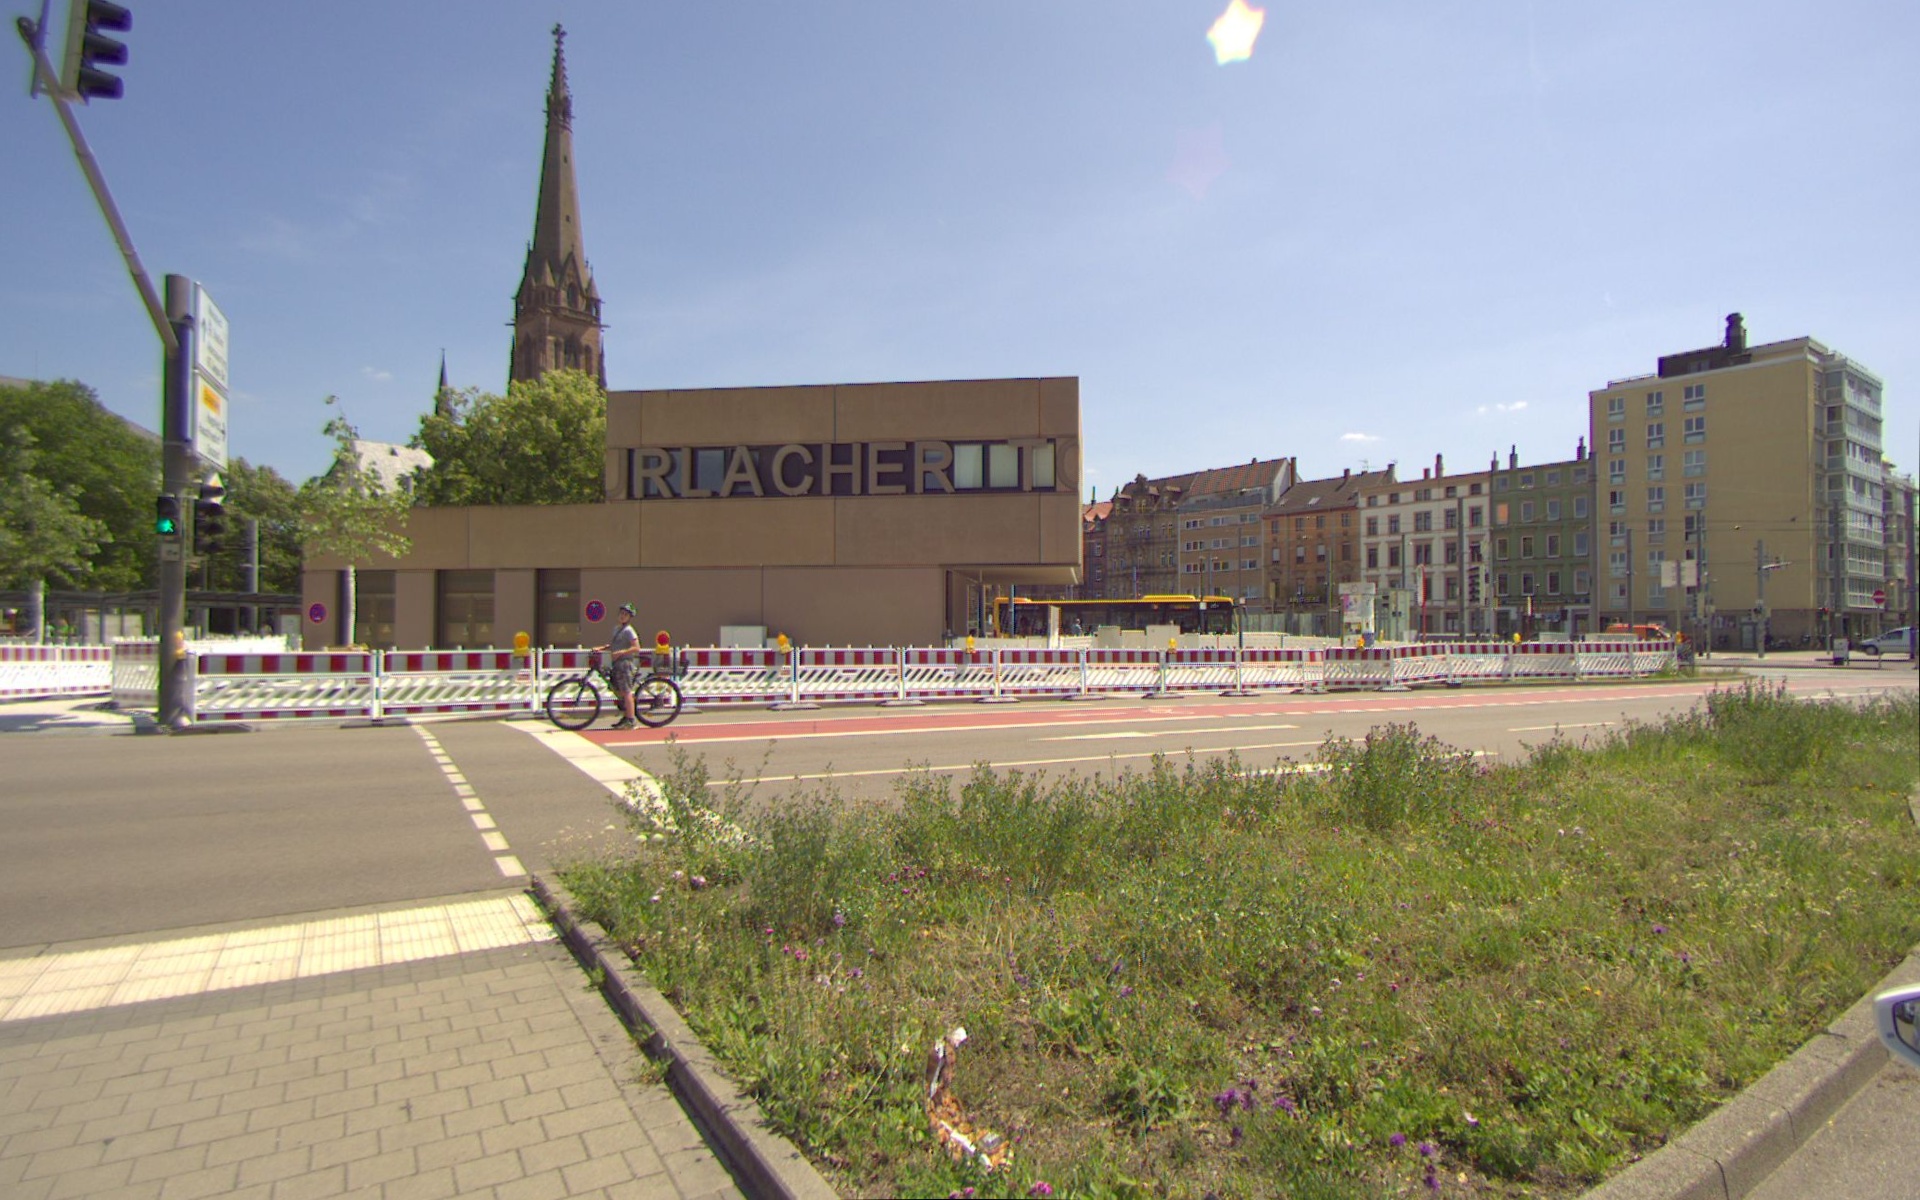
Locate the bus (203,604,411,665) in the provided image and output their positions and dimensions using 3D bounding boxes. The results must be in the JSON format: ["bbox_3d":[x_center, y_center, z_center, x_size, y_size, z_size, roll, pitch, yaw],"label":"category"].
[{"bbox_3d":[-36.091,1.877,55.617,10.388,3.094,2.857,-1,0,9],"label":"bus"}]

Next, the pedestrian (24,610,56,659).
[{"bbox_3d":[-36.273,1.350,39.587,0.565,1.931,0.693,-1,0,6],"label":"pedestrian"}]

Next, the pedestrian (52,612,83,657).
[{"bbox_3d":[-36.254,1.399,40.817,0.625,1.812,0.646,-1,0,7],"label":"pedestrian"}]

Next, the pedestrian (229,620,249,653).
[{"bbox_3d":[-36.751,1.855,51.190,0.536,1.677,0.627,-1,0,3],"label":"pedestrian"}]

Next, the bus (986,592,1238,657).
[{"bbox_3d":[7.476,1.204,50.247,12.004,3.081,3.742,0,-1,8],"label":"bus"}]

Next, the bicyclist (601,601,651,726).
[{"bbox_3d":[-4.378,0.821,13.168,0.492,1.600,0.527,2,-2,-30],"label":"bicyclist"}]

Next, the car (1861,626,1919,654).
[{"bbox_3d":[59.927,2.528,63.440,1.798,1.649,4.274,-1,0,-38],"label":"car"}]

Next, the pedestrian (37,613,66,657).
[{"bbox_3d":[-37.123,1.429,41.060,0.646,1.779,0.540,-1,0,-2],"label":"pedestrian"}]

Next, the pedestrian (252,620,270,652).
[{"bbox_3d":[-35.468,1.821,50.983,0.510,1.642,0.537,-1,0,3],"label":"pedestrian"}]

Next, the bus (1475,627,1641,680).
[{"bbox_3d":[17.564,1.512,29.394,5.742,1.266,1.240,-1,0,-26],"label":"bus"}]

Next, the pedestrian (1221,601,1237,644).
[{"bbox_3d":[12.897,1.064,48.220,0.650,2.022,0.611,-1,0,12],"label":"pedestrian"}]

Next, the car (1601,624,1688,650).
[{"bbox_3d":[46.147,2.469,67.815,1.658,1.635,4.596,-1,0,-33],"label":"car"}]

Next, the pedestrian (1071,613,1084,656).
[{"bbox_3d":[5.618,1.630,48.006,0.572,2.022,0.572,-1,0,11],"label":"pedestrian"}]

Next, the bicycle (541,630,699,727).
[{"bbox_3d":[-4.428,1.009,13.128,1.876,1.196,0.520,2,-2,-31],"label":"bicycle"}]

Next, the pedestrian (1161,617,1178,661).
[{"bbox_3d":[9.799,1.808,46.974,0.651,2.022,0.611,-1,0,22],"label":"pedestrian"}]

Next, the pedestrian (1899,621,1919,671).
[{"bbox_3d":[39.048,1.858,40.716,0.890,1.959,1.176,-1,0,-25],"label":"pedestrian"}]
